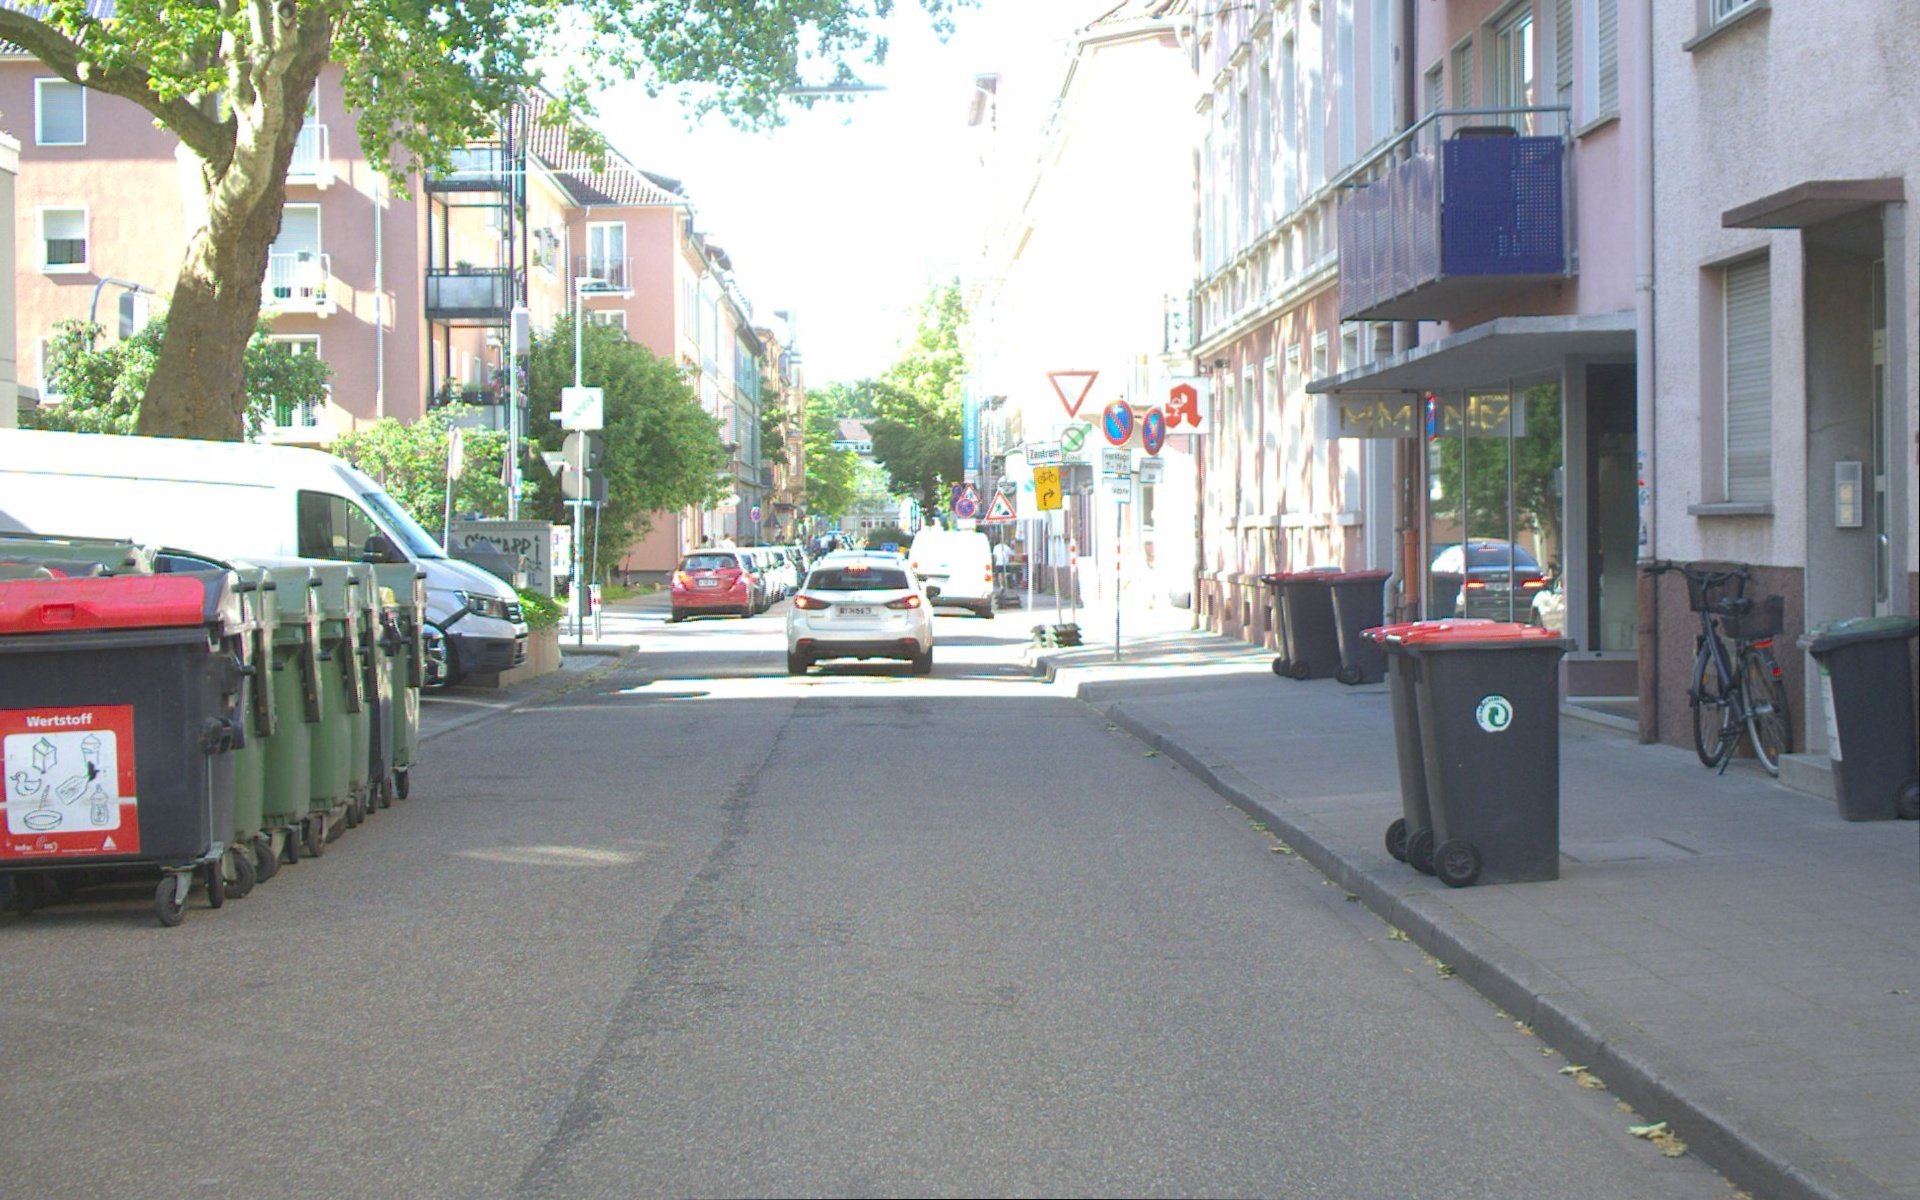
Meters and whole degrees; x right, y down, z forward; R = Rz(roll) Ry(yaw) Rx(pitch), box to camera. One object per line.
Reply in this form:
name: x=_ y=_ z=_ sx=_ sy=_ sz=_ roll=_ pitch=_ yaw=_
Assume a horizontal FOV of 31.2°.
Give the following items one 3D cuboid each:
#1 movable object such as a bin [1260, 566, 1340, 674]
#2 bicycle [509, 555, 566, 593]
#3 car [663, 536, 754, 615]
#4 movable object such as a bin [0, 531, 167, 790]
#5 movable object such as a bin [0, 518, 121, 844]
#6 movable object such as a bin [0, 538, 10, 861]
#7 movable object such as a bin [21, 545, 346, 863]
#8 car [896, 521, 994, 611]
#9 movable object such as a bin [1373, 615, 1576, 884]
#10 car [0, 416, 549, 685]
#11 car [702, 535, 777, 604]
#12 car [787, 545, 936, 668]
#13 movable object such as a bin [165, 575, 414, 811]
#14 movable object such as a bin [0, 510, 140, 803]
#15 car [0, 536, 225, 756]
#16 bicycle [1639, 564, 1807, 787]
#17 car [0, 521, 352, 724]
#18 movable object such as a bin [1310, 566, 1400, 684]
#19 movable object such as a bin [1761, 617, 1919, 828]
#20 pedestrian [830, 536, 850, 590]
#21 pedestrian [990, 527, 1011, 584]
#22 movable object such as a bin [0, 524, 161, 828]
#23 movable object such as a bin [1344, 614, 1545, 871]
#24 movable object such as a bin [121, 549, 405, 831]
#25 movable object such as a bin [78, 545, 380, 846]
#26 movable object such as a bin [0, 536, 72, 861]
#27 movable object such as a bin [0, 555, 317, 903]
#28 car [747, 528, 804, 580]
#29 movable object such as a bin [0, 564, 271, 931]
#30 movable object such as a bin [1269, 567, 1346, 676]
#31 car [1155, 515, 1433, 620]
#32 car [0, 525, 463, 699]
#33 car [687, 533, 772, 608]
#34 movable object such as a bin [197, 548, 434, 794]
movable object such as a bin: x=3.469 y=0.200 z=35.107 sx=0.745 sy=1.082 sz=0.635 roll=0 pitch=0 yaw=1
bicycle: x=-10.447 y=-0.646 z=84.951 sx=0.603 sy=0.929 sz=1.915 roll=-1 pitch=0 yaw=-34
car: x=-5.364 y=-0.550 z=73.731 sx=1.769 sy=1.583 sz=3.726 roll=0 pitch=2 yaw=-2
movable object such as a bin: x=-5.609 y=0.356 z=21.044 sx=1.352 sy=1.544 sz=1.121 roll=0 pitch=0 yaw=-7
movable object such as a bin: x=-5.050 y=0.396 z=17.560 sx=1.294 sy=1.615 sz=1.018 roll=0 pitch=0 yaw=-1
movable object such as a bin: x=-5.081 y=0.460 z=15.480 sx=1.305 sy=1.494 sz=1.157 roll=0 pitch=0 yaw=-1
movable object such as a bin: x=-3.715 y=0.484 z=16.555 sx=1.348 sy=1.482 sz=1.003 roll=0 pitch=0 yaw=-1
car: x=-0.363 y=-0.781 z=77.013 sx=1.942 sy=1.941 sz=4.079 roll=1 pitch=1 yaw=-4
movable object such as a bin: x=2.127 y=0.607 z=14.276 sx=0.732 sy=1.077 sz=0.703 roll=0 pitch=0 yaw=0
car: x=-7.975 y=-0.557 z=36.927 sx=6.739 sy=2.546 sz=2.146 roll=3 pitch=0 yaw=1
car: x=-5.423 y=-0.751 z=84.843 sx=1.635 sy=1.650 sz=3.785 roll=0 pitch=0 yaw=-1
car: x=-1.277 y=0.046 z=44.342 sx=1.823 sy=1.509 sz=3.824 roll=0 pitch=1 yaw=-2
movable object such as a bin: x=-3.832 y=0.517 z=19.750 sx=1.241 sy=1.317 sz=1.046 roll=0 pitch=0 yaw=-1
movable object such as a bin: x=-5.444 y=0.314 z=19.887 sx=1.227 sy=1.647 sz=1.174 roll=0 pitch=0 yaw=-7
car: x=-7.349 y=0.301 z=24.450 sx=3.875 sy=1.499 sz=1.827 roll=0 pitch=0 yaw=-2
bicycle: x=4.131 y=0.381 z=18.725 sx=0.453 sy=1.130 sz=1.920 roll=-3 pitch=1 yaw=1
car: x=-7.542 y=0.158 z=29.192 sx=4.465 sy=1.604 sz=1.916 roll=1 pitch=0 yaw=-3
movable object such as a bin: x=3.732 y=0.235 z=32.532 sx=0.729 sy=1.100 sz=0.693 roll=0 pitch=0 yaw=-3
movable object such as a bin: x=4.106 y=0.557 z=15.987 sx=0.598 sy=0.948 sz=0.682 roll=0 pitch=0 yaw=0
pedestrian: x=-4.046 y=-1.233 z=115.552 sx=0.647 sy=1.791 sz=0.639 roll=0 pitch=0 yaw=0
pedestrian: x=1.253 y=-1.364 z=105.781 sx=0.617 sy=1.727 sz=0.560 roll=0 pitch=0 yaw=-2
movable object such as a bin: x=-5.091 y=0.396 z=18.624 sx=1.288 sy=1.599 sz=1.082 roll=0 pitch=0 yaw=-1
movable object such as a bin: x=2.103 y=0.609 z=14.989 sx=0.768 sy=1.083 sz=0.693 roll=0 pitch=0 yaw=0
movable object such as a bin: x=-3.760 y=0.471 z=18.659 sx=1.334 sy=1.486 sz=1.082 roll=0 pitch=0 yaw=-1
movable object such as a bin: x=-3.719 y=0.472 z=17.591 sx=1.343 sy=1.494 sz=1.018 roll=0 pitch=0 yaw=-1
movable object such as a bin: x=-5.055 y=0.454 z=16.558 sx=1.302 sy=1.517 sz=1.018 roll=0 pitch=0 yaw=-1
movable object such as a bin: x=-3.683 y=0.560 z=15.512 sx=1.334 sy=1.479 sz=1.093 roll=-2 pitch=0 yaw=-1
car: x=-5.675 y=-1.410 z=105.949 sx=1.572 sy=1.580 sz=3.611 roll=0 pitch=0 yaw=-1
movable object such as a bin: x=-3.661 y=0.592 z=14.338 sx=1.319 sy=1.445 sz=1.187 roll=-2 pitch=0 yaw=-1
movable object such as a bin: x=3.482 y=0.212 z=34.475 sx=0.701 sy=1.069 sz=0.596 roll=0 pitch=0 yaw=1
car: x=6.384 y=-0.613 z=65.780 sx=4.895 sy=1.922 sz=1.997 roll=1 pitch=-1 yaw=24
car: x=-7.355 y=0.098 z=34.143 sx=4.500 sy=1.465 sz=1.929 roll=3 pitch=1 yaw=0
car: x=-5.298 y=-0.680 z=79.330 sx=1.720 sy=1.677 sz=3.726 roll=0 pitch=1 yaw=-1
movable object such as a bin: x=-3.886 y=0.419 z=20.847 sx=1.300 sy=1.446 sz=1.118 roll=0 pitch=0 yaw=-5
